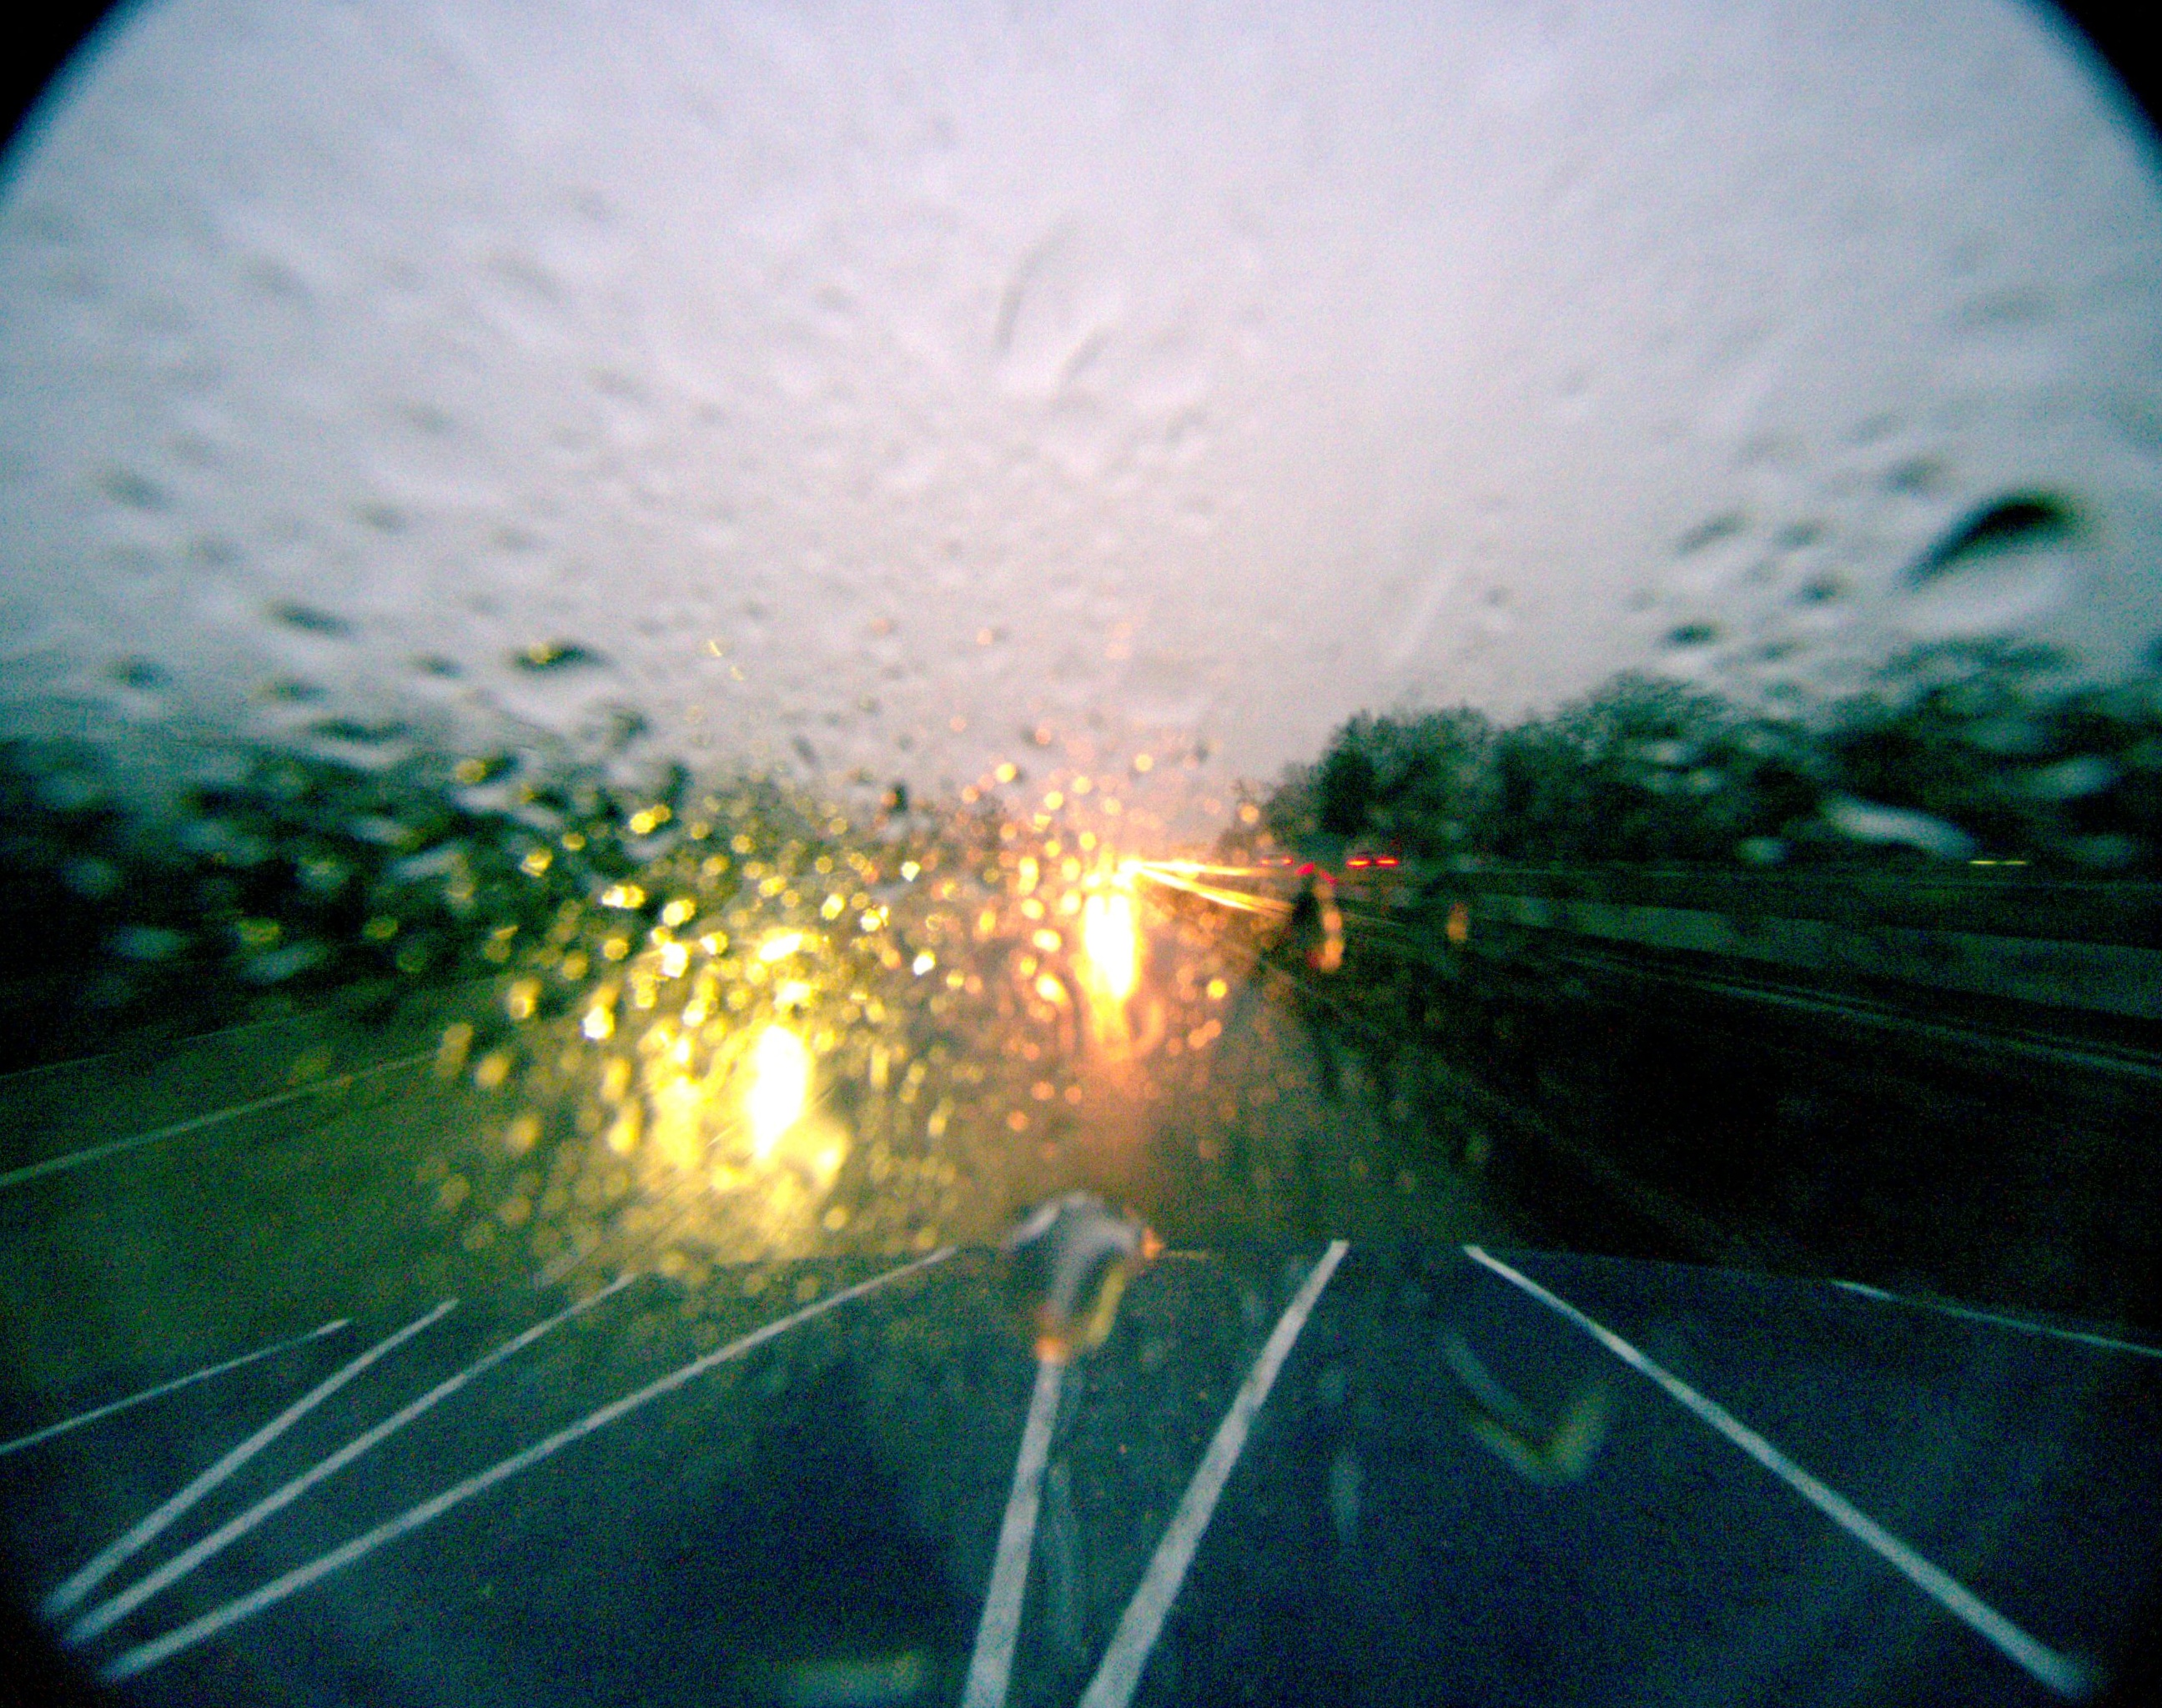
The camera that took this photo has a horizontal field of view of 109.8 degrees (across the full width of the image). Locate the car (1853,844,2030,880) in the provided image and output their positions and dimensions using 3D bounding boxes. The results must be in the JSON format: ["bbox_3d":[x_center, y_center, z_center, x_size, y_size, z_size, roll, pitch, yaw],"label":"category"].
[{"bbox_3d":[31.668,0.301,28.155,3.989,1.155,1.806,-2,0,32],"label":"car"}]

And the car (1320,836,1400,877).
[{"bbox_3d":[12.310,0.093,33.851,1.870,1.618,4.779,-2,0,2],"label":"car"}]

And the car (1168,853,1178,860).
[{"bbox_3d":[20.314,0.581,167.160,1.869,1.473,4.673,-2,0,4],"label":"car"}]

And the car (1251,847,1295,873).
[{"bbox_3d":[13.086,0.376,51.983,1.870,1.618,4.646,-2,0,2],"label":"car"}]

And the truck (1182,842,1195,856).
[{"bbox_3d":[30.579,-1.387,216.615,3.084,3.834,9.372,-2,0,6],"label":"truck"}]

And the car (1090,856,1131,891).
[{"bbox_3d":[1.456,0.888,36.588,1.758,1.521,4.001,-2,0,4],"label":"car"}]

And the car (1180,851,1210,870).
[{"bbox_3d":[9.645,0.520,64.649,1.870,1.441,4.646,-2,0,2],"label":"car"}]

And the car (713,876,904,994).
[{"bbox_3d":[-4.150,1.148,12.324,1.595,1.445,4.176,-2,0,-1],"label":"car"}]

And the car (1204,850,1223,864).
[{"bbox_3d":[16.215,0.332,92.923,1.731,1.598,4.179,-2,0,2],"label":"car"}]
